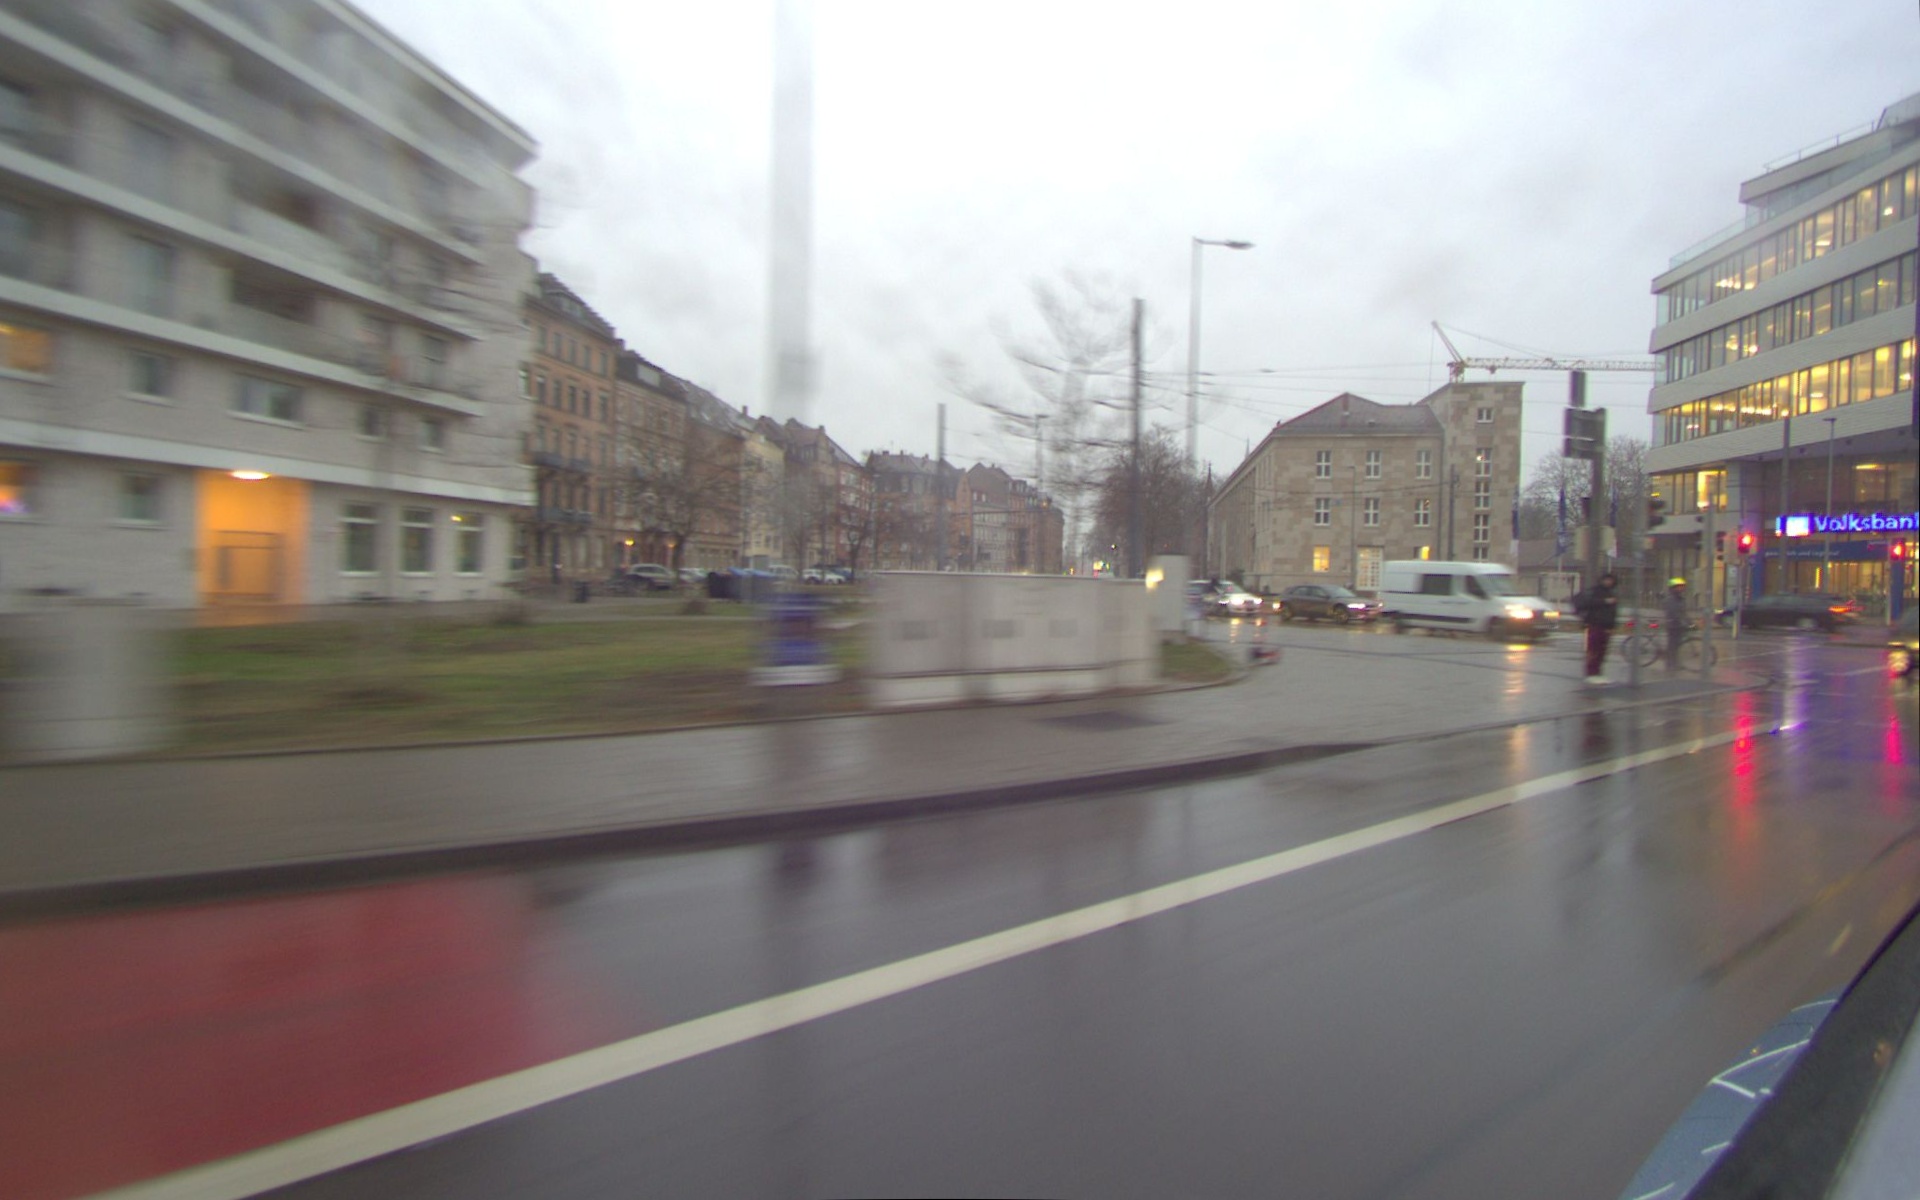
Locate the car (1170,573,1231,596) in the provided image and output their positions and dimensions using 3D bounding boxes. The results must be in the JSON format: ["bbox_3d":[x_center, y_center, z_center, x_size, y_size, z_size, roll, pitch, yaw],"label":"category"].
[{"bbox_3d":[17.038,-1.100,71.881,1.828,1.504,4.349,0,2,-27],"label":"car"}]

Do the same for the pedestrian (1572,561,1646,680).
[{"bbox_3d":[10.692,0.325,16.692,0.761,1.901,0.635,1,1,3],"label":"pedestrian"}]

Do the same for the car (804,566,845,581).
[{"bbox_3d":[-12.785,-2.480,95.394,3.538,1.387,1.621,1,1,-16],"label":"car"}]

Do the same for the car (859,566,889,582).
[{"bbox_3d":[-9.769,-2.951,114.849,3.120,1.644,1.431,1,1,-12],"label":"car"}]

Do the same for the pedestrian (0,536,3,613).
[{"bbox_3d":[-20.942,-0.539,21.460,0.707,1.652,0.634,1,1,-12],"label":"pedestrian"}]

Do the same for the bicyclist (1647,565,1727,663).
[{"bbox_3d":[14.610,0.268,20.358,0.776,1.914,0.991,1,1,-18],"label":"bicyclist"}]

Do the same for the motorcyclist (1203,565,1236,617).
[{"bbox_3d":[9.743,-0.355,38.034,0.868,1.905,0.923,1,1,-6],"label":"motorcyclist"}]

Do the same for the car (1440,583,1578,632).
[{"bbox_3d":[19.143,0.217,35.459,1.729,1.481,3.923,-2,3,-29],"label":"car"}]

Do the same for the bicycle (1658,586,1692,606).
[{"bbox_3d":[41.384,-0.235,58.600,1.474,1.141,0.526,1,1,13],"label":"bicycle"}]

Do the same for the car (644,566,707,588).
[{"bbox_3d":[-17.786,-1.432,63.282,3.611,1.322,1.746,0,1,-21],"label":"car"}]

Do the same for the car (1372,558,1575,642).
[{"bbox_3d":[16.630,-0.110,33.180,2.198,2.493,5.679,-1,2,-28],"label":"car"}]

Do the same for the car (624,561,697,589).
[{"bbox_3d":[-17.959,-1.514,60.716,4.069,1.589,1.746,0,1,-21],"label":"car"}]

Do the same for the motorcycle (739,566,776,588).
[{"bbox_3d":[-13.813,-1.565,69.169,2.311,1.362,0.886,4,2,-6],"label":"motorcycle"}]

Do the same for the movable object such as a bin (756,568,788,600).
[{"bbox_3d":[-8.885,-0.772,47.889,1.038,1.450,1.220,1,1,15],"label":"movable object such as a bin"}]

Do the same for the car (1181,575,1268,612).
[{"bbox_3d":[12.565,-0.324,48.289,1.642,1.619,4.231,0,2,-26],"label":"car"}]

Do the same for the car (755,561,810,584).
[{"bbox_3d":[-14.735,-2.294,84.083,4.254,1.790,1.785,1,1,-21],"label":"car"}]

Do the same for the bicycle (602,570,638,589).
[{"bbox_3d":[-18.427,-1.110,54.862,1.758,0.943,0.447,3,1,-14],"label":"bicycle"}]

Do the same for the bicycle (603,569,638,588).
[{"bbox_3d":[-18.573,-1.187,55.383,1.758,0.943,0.447,3,1,-14],"label":"bicycle"}]

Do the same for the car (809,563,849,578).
[{"bbox_3d":[-12.713,-2.874,98.306,3.538,1.387,1.621,0,1,-22],"label":"car"}]

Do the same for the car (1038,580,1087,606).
[{"bbox_3d":[6.225,-0.435,61.975,1.838,1.493,4.179,0,1,-11],"label":"car"}]

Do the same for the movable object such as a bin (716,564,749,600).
[{"bbox_3d":[-10.492,-0.842,46.704,1.038,1.595,1.135,1,1,15],"label":"movable object such as a bin"}]

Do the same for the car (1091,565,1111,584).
[{"bbox_3d":[14.400,-2.602,103.378,1.872,1.894,4.956,0,2,6],"label":"car"}]

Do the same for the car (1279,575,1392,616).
[{"bbox_3d":[15.563,-0.231,42.187,1.789,1.589,4.370,0,2,-26],"label":"car"}]

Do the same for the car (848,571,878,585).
[{"bbox_3d":[-10.729,-2.462,111.578,3.120,1.446,1.431,1,1,-12],"label":"car"}]

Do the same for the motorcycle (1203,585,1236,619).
[{"bbox_3d":[9.753,0.071,38.113,0.474,1.198,2.412,1,2,-4],"label":"motorcycle"}]

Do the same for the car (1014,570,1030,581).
[{"bbox_3d":[8.120,-3.148,132.145,1.725,1.387,3.603,1,2,11],"label":"car"}]

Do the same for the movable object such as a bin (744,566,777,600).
[{"bbox_3d":[-9.159,-0.777,46.387,1.038,1.529,1.247,1,1,15],"label":"movable object such as a bin"}]

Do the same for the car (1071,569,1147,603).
[{"bbox_3d":[7.438,-0.717,50.832,1.863,1.619,4.015,0,2,-25],"label":"car"}]

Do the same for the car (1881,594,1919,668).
[{"bbox_3d":[19.361,0.660,18.640,1.696,1.405,3.813,1,2,9],"label":"car"}]

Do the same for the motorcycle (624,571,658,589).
[{"bbox_3d":[-17.991,-1.136,57.007,1.757,0.943,0.514,2,1,-20],"label":"motorcycle"}]

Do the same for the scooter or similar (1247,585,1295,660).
[{"bbox_3d":[5.314,0.365,17.258,0.332,1.221,1.291,2,2,37],"label":"scooter or similar"}]

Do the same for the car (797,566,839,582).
[{"bbox_3d":[-13.012,-2.405,92.781,3.538,1.387,1.621,1,1,-16],"label":"car"}]

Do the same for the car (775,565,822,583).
[{"bbox_3d":[-13.875,-2.273,86.898,3.881,1.462,1.705,1,1,-15],"label":"car"}]

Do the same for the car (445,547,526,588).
[{"bbox_3d":[-26.980,-1.857,57.738,1.966,2.216,4.653,1,2,7],"label":"car"}]

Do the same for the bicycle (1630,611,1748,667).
[{"bbox_3d":[14.561,0.756,20.283,0.643,0.985,1.871,1,2,-18],"label":"bicycle"}]

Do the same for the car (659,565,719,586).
[{"bbox_3d":[-17.612,-1.597,65.784,3.611,1.322,1.672,0,1,-21],"label":"car"}]

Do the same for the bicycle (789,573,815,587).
[{"bbox_3d":[-11.565,-1.488,73.990,1.766,0.943,0.445,3,1,8],"label":"bicycle"}]

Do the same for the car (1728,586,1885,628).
[{"bbox_3d":[32.681,0.239,39.230,1.595,1.462,4.433,1,2,-22],"label":"car"}]

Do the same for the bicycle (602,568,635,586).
[{"bbox_3d":[-19.670,-1.322,58.302,1.758,0.943,0.447,3,1,-14],"label":"bicycle"}]

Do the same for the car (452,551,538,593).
[{"bbox_3d":[-22.986,-1.404,49.974,4.572,1.966,1.918,2,2,37],"label":"car"}]
